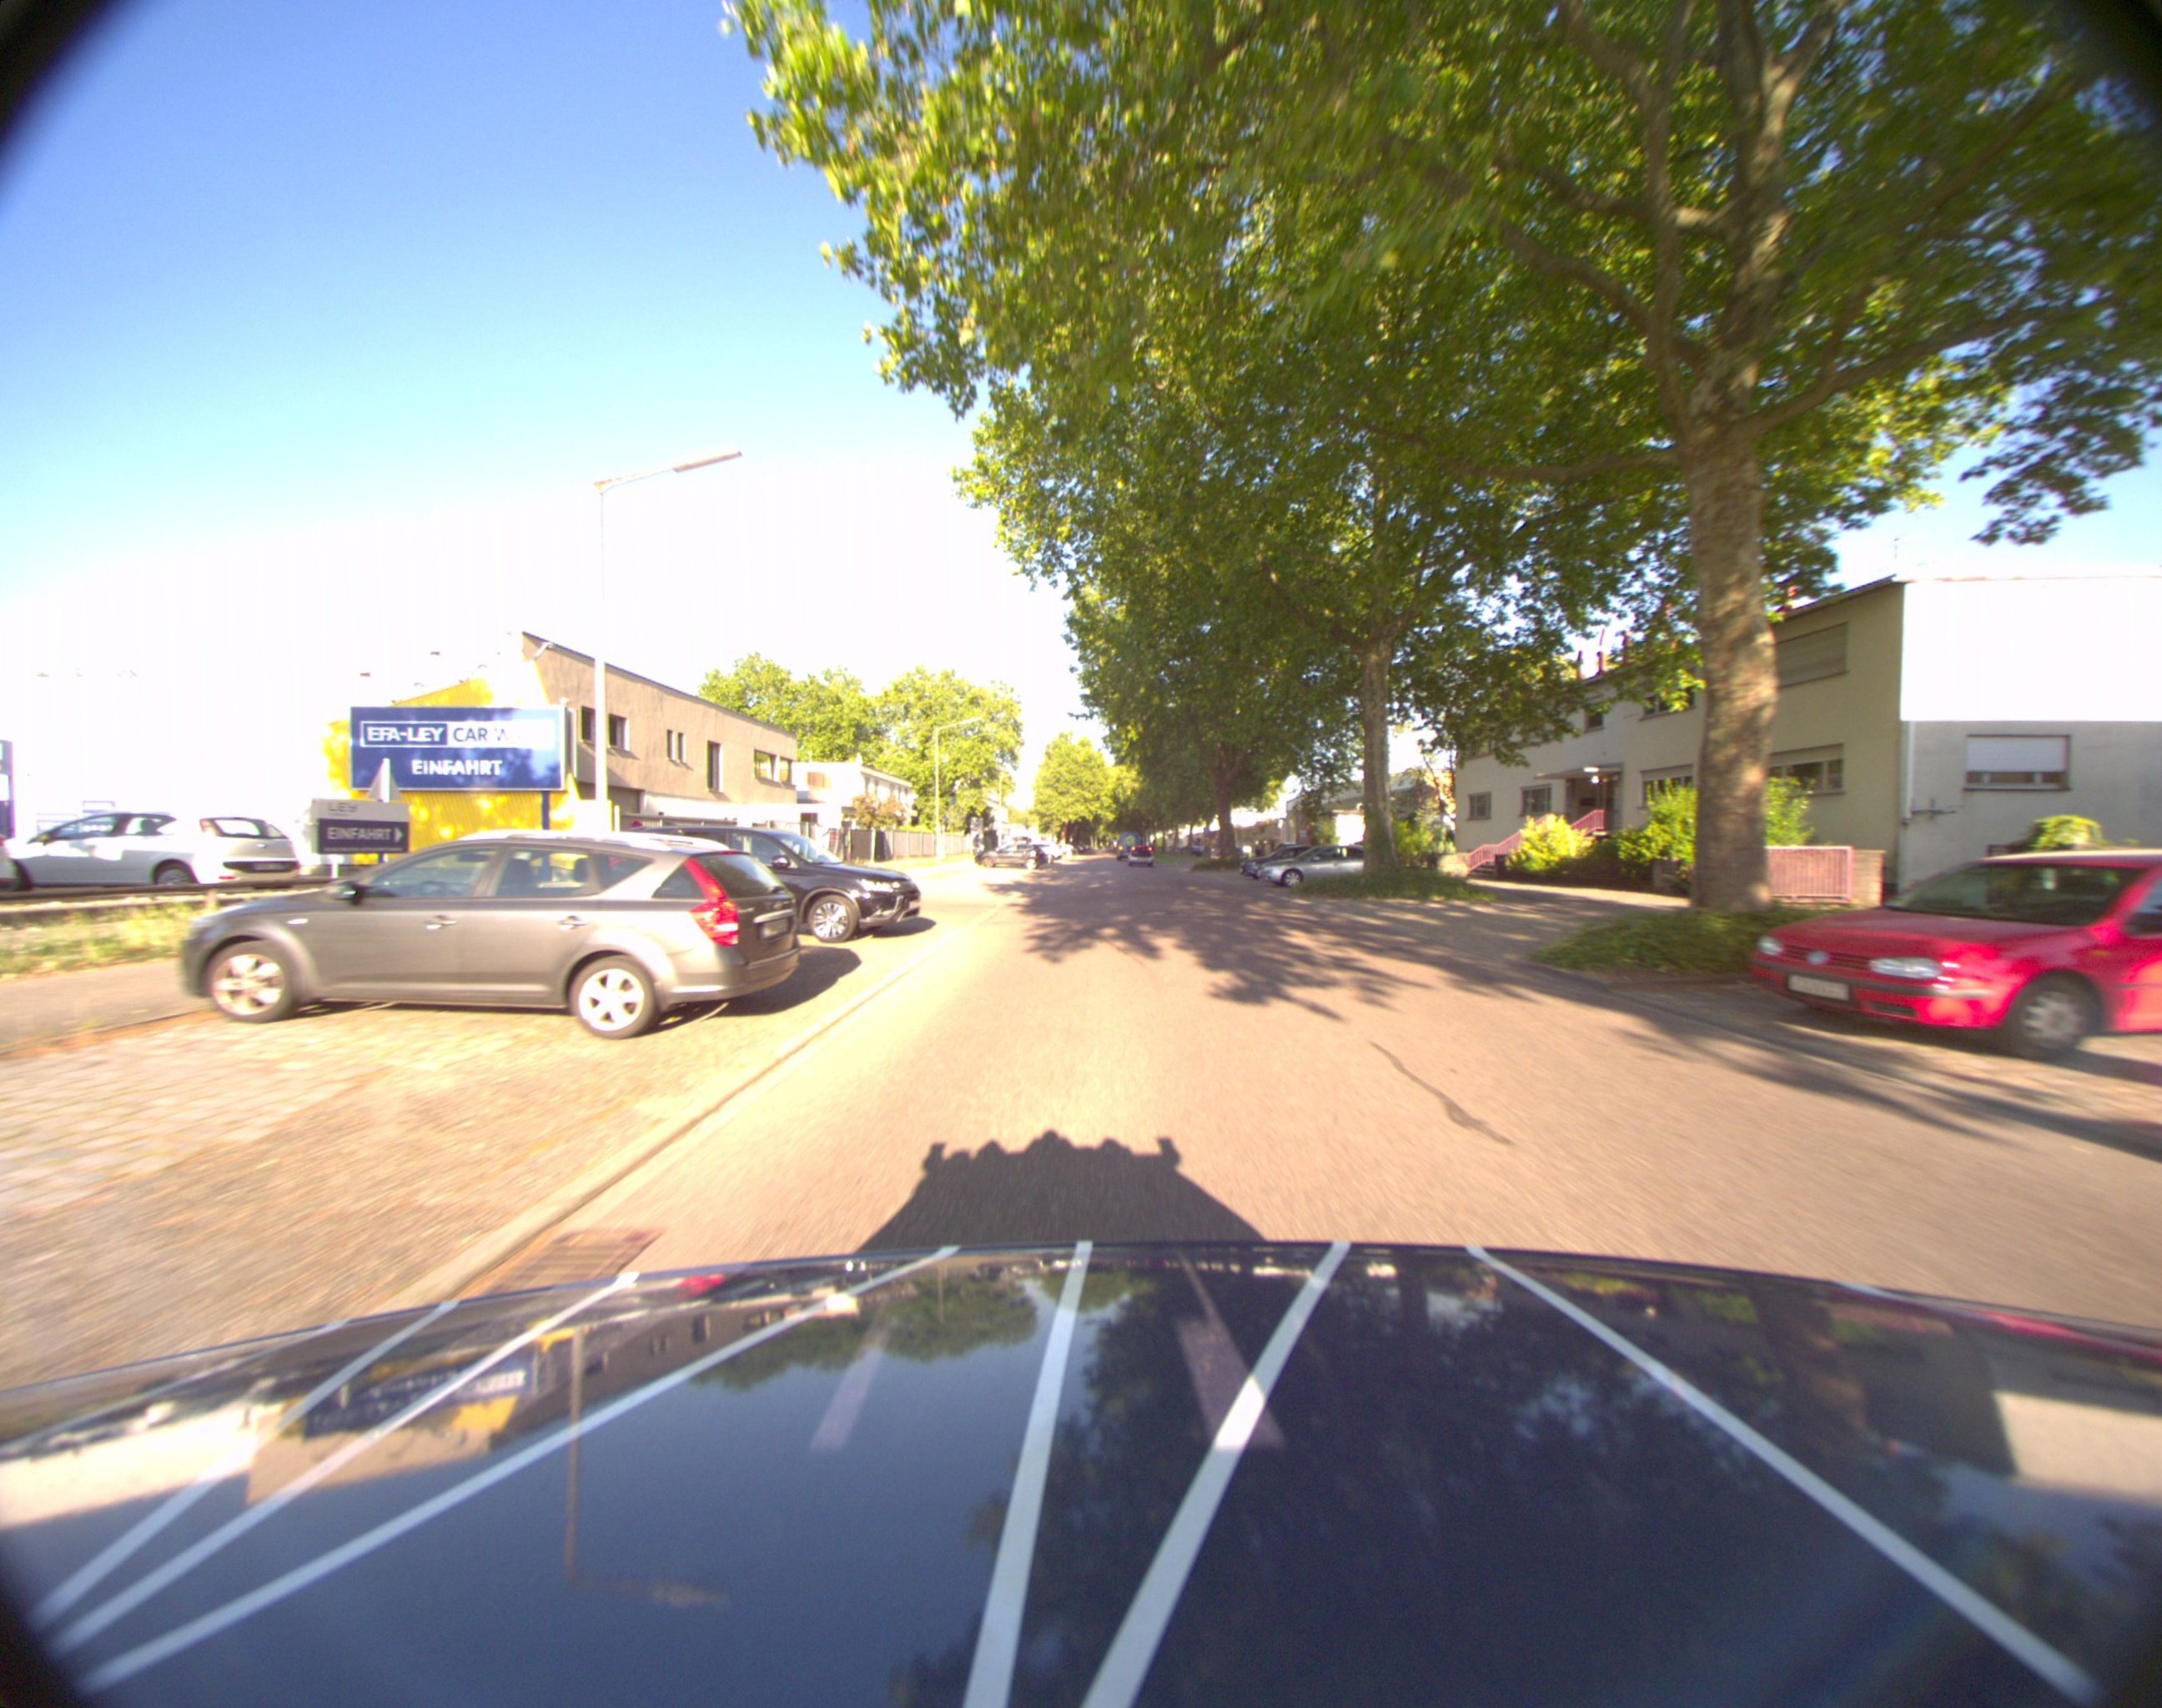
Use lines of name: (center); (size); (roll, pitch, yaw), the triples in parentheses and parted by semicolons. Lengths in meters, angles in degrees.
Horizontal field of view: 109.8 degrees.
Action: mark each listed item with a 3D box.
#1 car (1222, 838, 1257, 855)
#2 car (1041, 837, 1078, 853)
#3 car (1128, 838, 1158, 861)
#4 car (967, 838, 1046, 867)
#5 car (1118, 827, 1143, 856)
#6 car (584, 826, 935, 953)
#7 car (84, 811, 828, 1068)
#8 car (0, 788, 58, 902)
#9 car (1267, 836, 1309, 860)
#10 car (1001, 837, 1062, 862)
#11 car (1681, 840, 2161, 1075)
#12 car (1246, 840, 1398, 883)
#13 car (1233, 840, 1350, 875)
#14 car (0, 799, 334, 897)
car: (14.311, -0.720, 68.838); (1.999, 1.362, 3.918); (4, 2, -3)
car: (-2.696, -1.091, 94.727); (4.582, 1.706, 1.942); (3, 2, -2)
car: (4.417, -0.352, 54.541); (1.843, 1.562, 3.801); (2, 2, 1)
car: (-4.523, -0.113, 46.662); (4.636, 1.518, 1.999); (3, 2, -1)
car: (4.698, -1.219, 72.903); (2.133, 2.644, 7.000); (0, 1, 1)
car: (-4.854, 0.474, 11.930); (4.611, 1.571, 2.000); (3, 2, 3)
car: (-4.805, 0.577, 6.414); (4.612, 1.604, 1.999); (3, 2, 0)
car: (-16.280, -0.053, 9.517); (3.998, 1.510, 1.952); (-1, 2, -3)
car: (14.643, -0.485, 53.986); (1.998, 1.567, 4.272); (-1, 2, 3)
car: (-3.881, -0.399, 60.459); (4.636, 1.702, 1.999); (3, 2, -1)
car: (7.759, 0.681, 6.086); (4.307, 1.438, 1.999); (-2, 2, 1)
car: (8.225, 0.232, 26.234); (4.611, 1.414, 2.000); (0, 1, 1)
car: (8.777, 0.136, 31.954); (4.365, 1.414, 1.999); (0, 1, -1)
car: (-15.912, -0.117, 13.051); (3.998, 1.489, 1.999); (-1, 2, -3)
